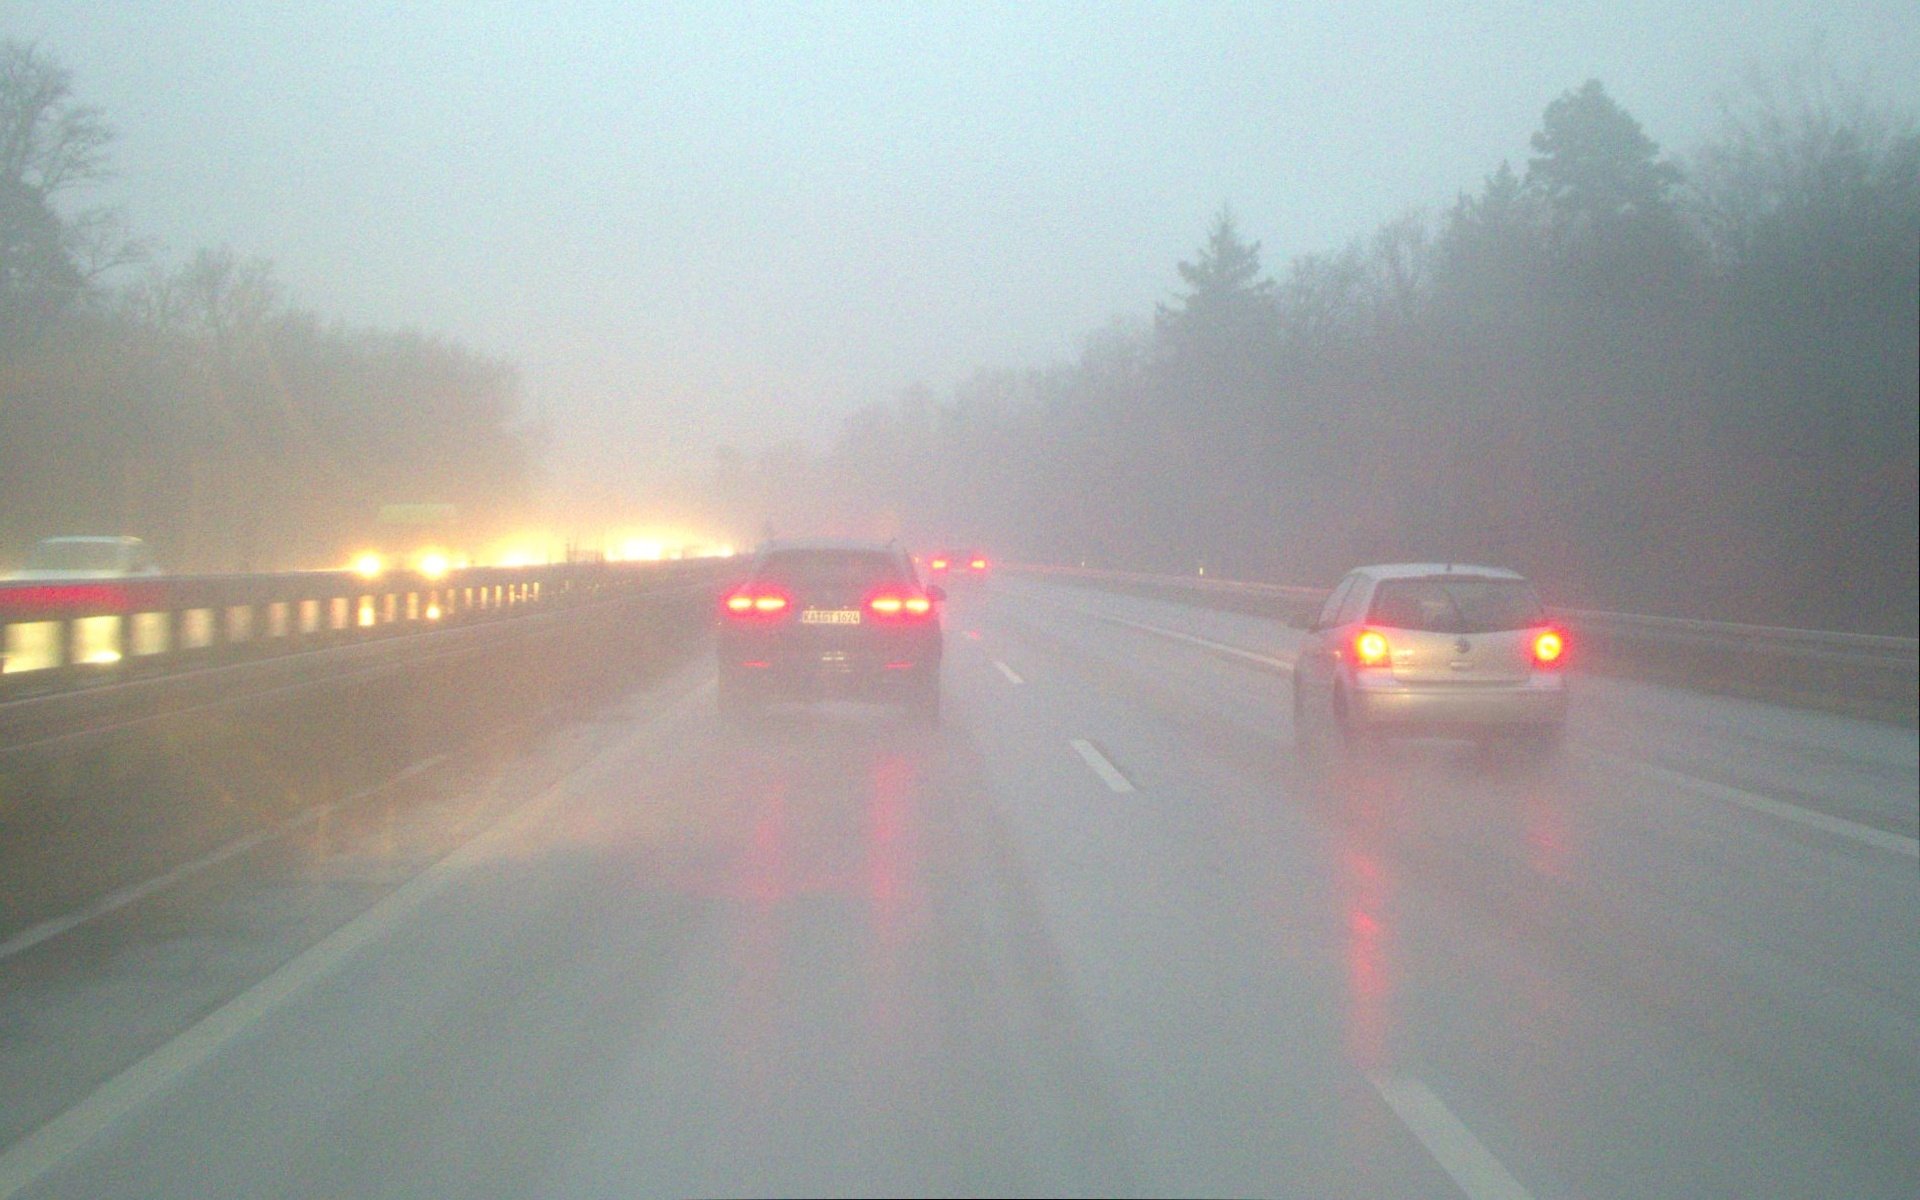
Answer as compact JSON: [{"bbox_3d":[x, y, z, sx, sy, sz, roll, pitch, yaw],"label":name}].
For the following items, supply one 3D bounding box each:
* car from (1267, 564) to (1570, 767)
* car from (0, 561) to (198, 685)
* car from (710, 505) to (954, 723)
[{"bbox_3d":[3.451,0.453,26.480,1.780,1.432,3.537,1,1,-1],"label":"car"},{"bbox_3d":[-12.884,0.294,51.160,1.876,1.689,5.450,0,1,0],"label":"car"},{"bbox_3d":[-1.141,0.080,30.199,1.986,1.761,4.174,0,1,-3],"label":"car"}]
